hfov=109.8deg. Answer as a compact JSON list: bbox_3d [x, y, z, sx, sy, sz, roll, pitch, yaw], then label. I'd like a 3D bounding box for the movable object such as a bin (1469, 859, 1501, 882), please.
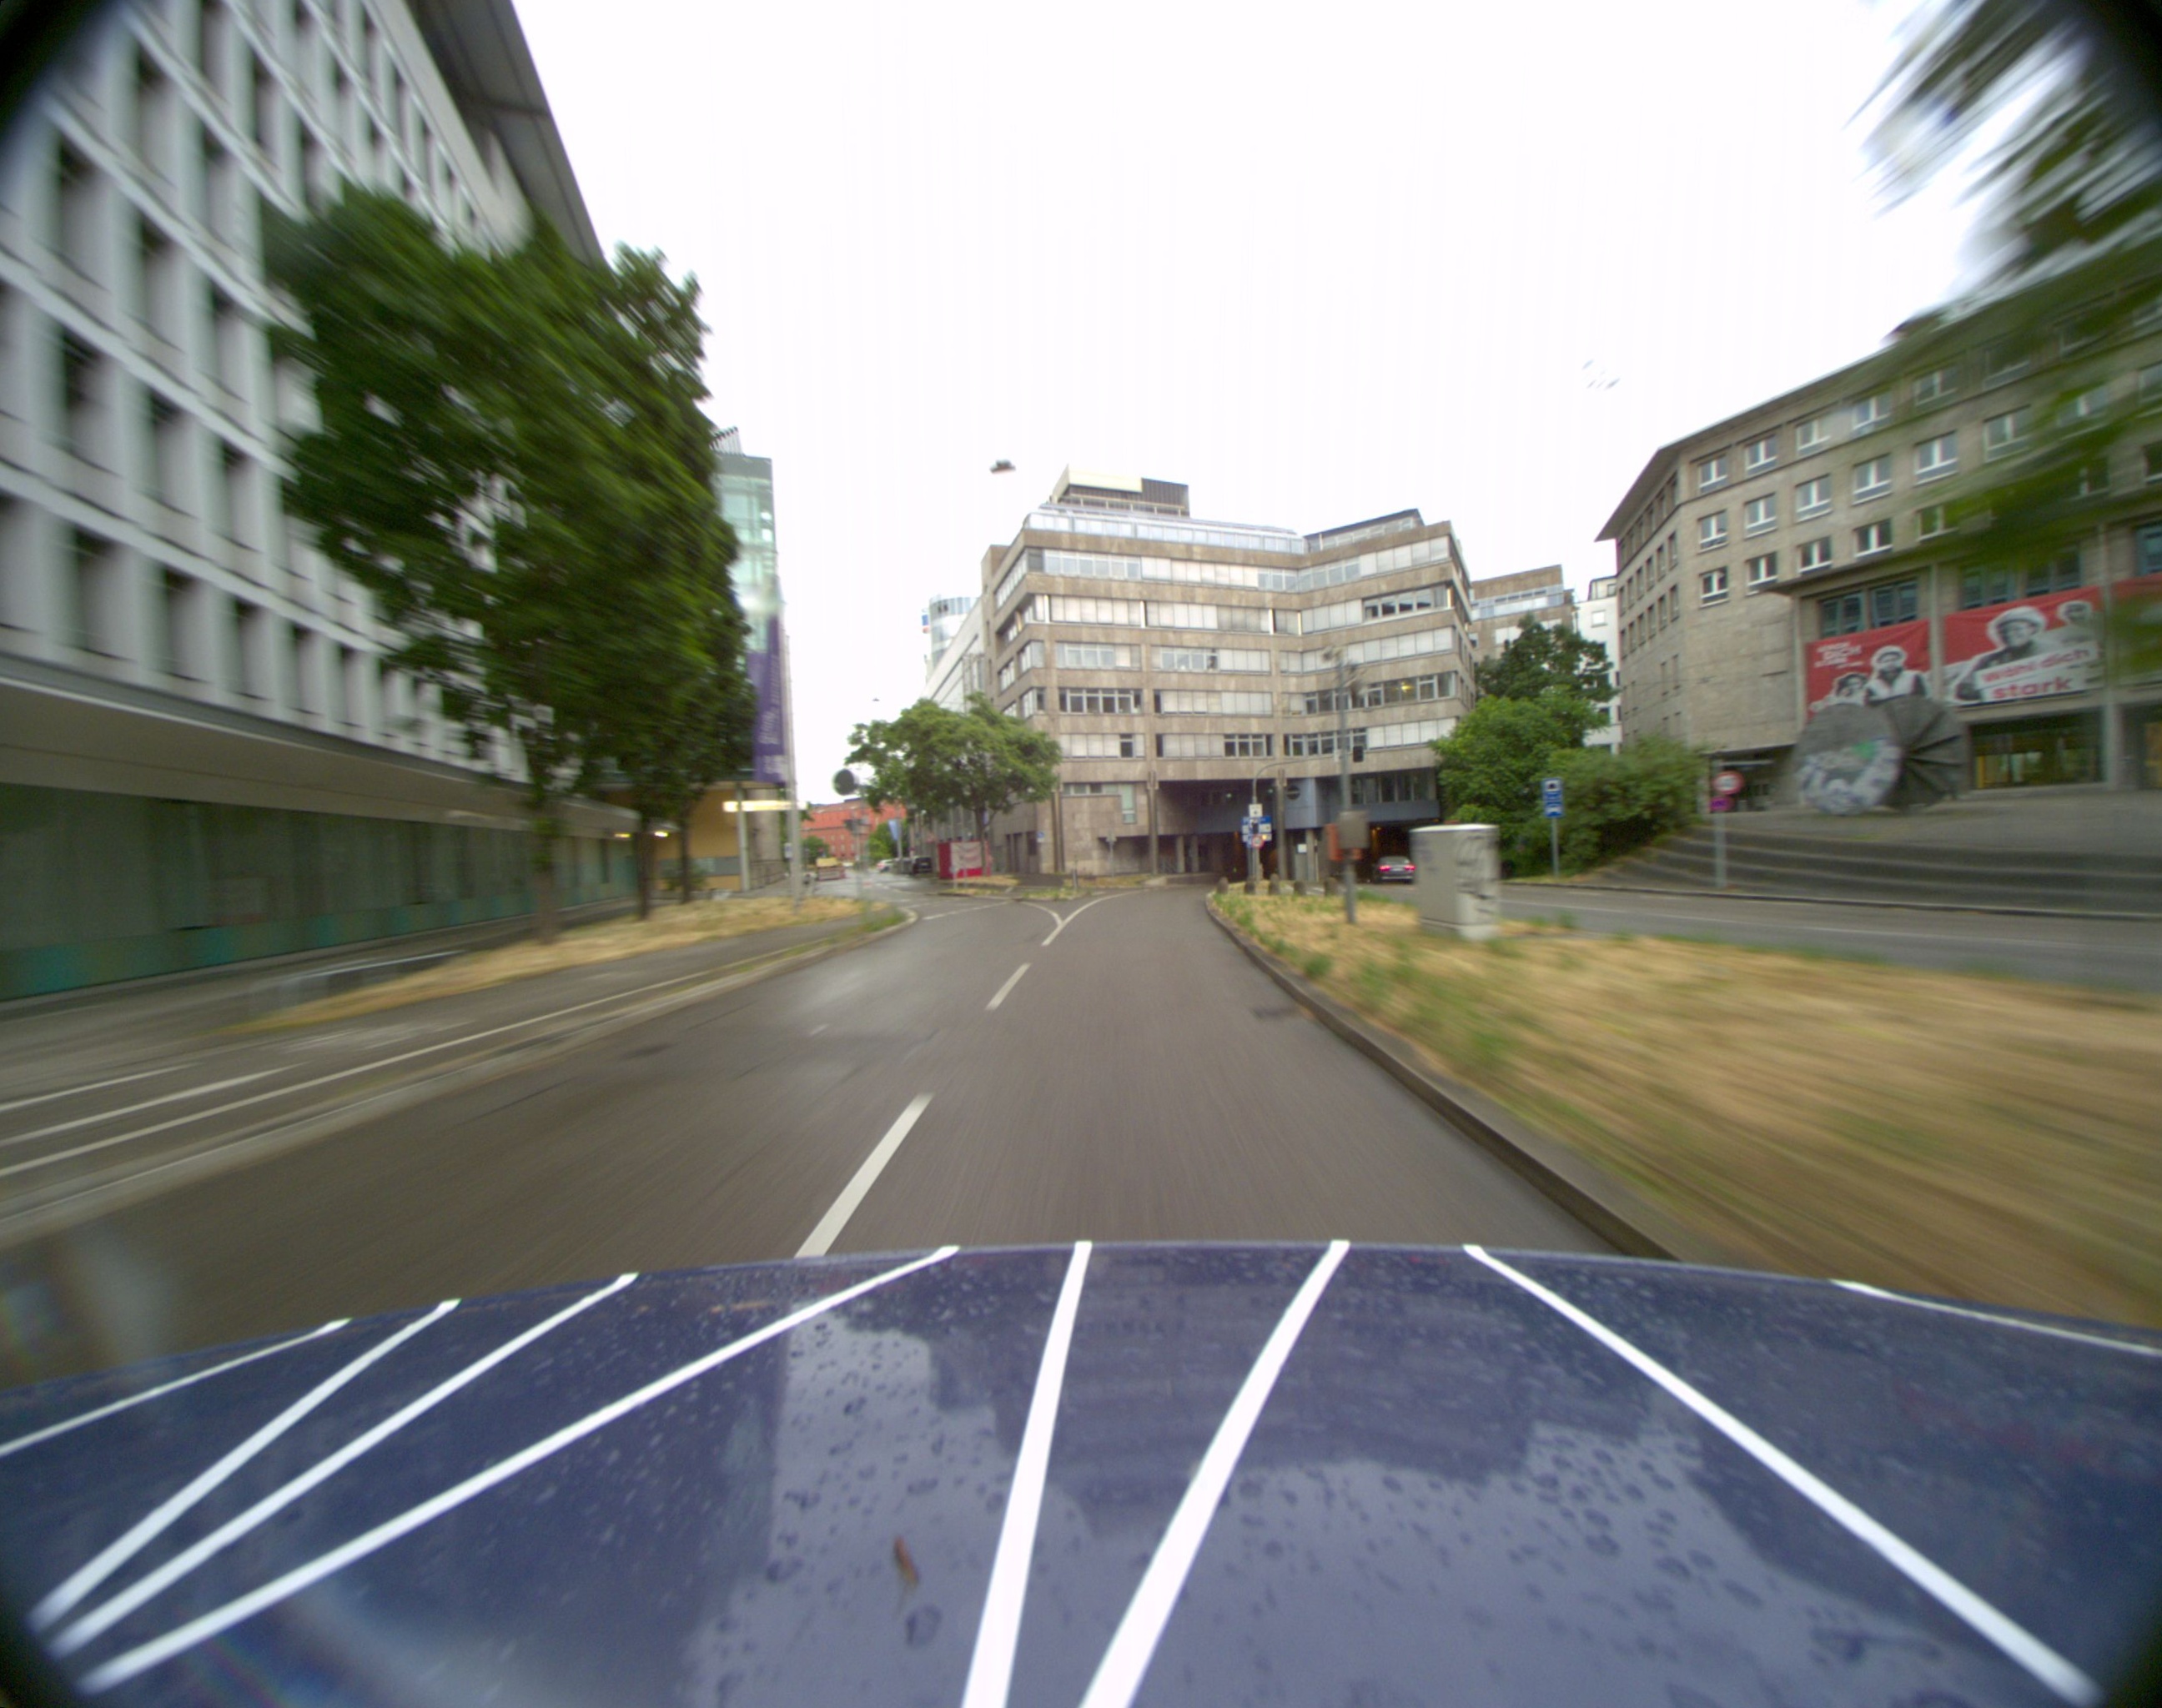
[{"bbox_3d":[25.876,1.058,48.661,1.169,1.442,1.337,-2,0,-28],"label":"movable object such as a bin"}]

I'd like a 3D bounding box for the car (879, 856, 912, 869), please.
[{"bbox_3d":[-23.942,1.095,98.018,3.777,1.641,1.795,-1,0,-33],"label":"car"}]

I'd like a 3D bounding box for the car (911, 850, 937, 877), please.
[{"bbox_3d":[-13.468,0.784,65.067,2.001,2.068,3.995,-4,1,-13],"label":"car"}]

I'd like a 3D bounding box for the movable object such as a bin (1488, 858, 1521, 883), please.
[{"bbox_3d":[26.426,1.019,47.383,1.297,1.442,1.205,-2,0,-21],"label":"movable object such as a bin"}]

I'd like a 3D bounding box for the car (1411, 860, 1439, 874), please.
[{"bbox_3d":[39.436,1.550,87.070,1.846,1.578,4.399,-1,-2,38],"label":"car"}]

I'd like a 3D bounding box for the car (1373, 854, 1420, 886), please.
[{"bbox_3d":[16.512,0.813,39.949,1.996,1.484,4.848,-2,0,19],"label":"car"}]
